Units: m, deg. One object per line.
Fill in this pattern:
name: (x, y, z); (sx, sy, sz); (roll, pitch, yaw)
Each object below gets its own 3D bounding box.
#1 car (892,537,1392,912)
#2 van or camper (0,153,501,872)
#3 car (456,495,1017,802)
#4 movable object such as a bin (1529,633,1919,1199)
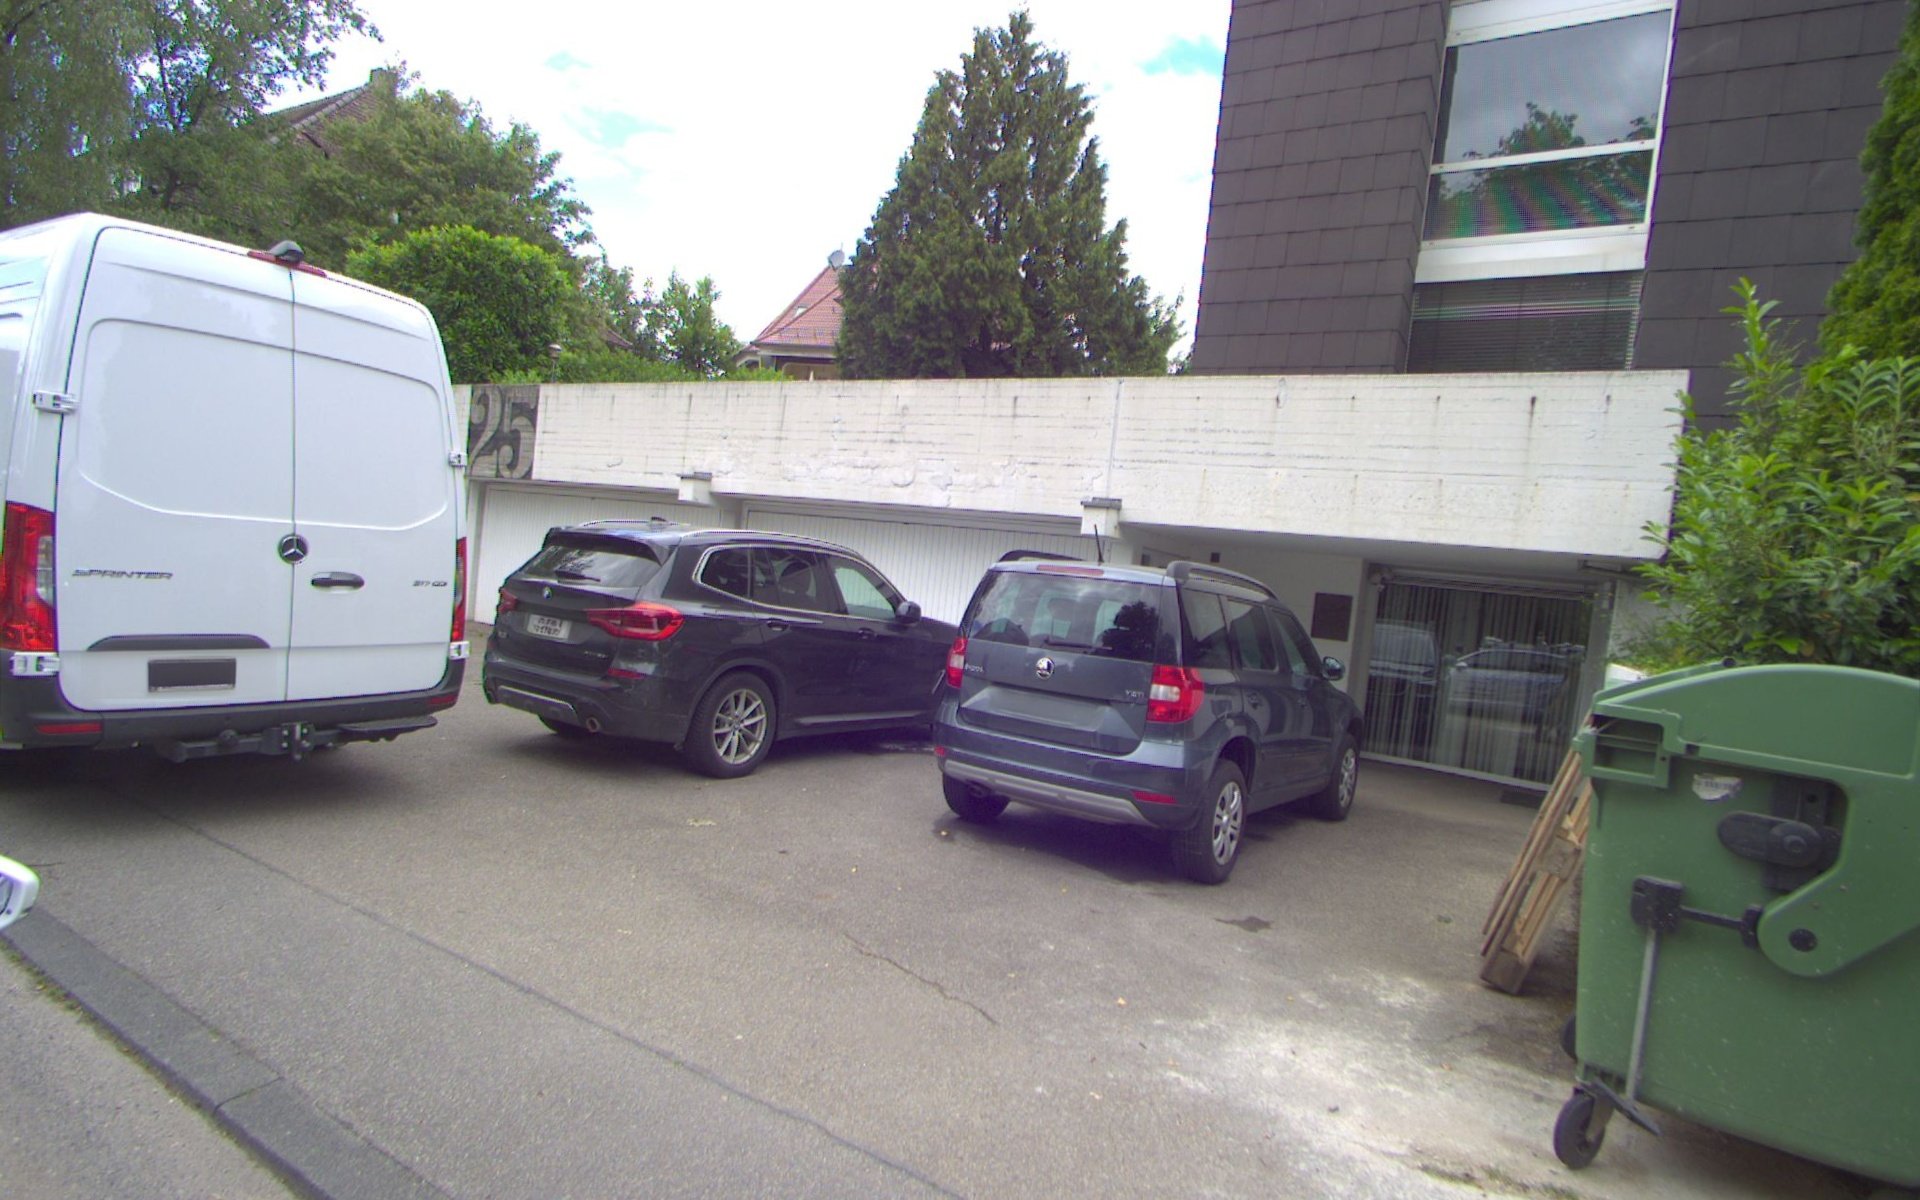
car: (1.493, 0.648, 6.787); (1.717, 1.673, 3.899); (6, 1, 35)
van or camper: (-5.764, -0.578, 6.270); (6.436, 2.662, 1.990); (6, 4, 32)
car: (-1.397, 0.327, 8.027); (1.668, 1.696, 4.383); (6, 1, 32)
movable object such as a bin: (2.417, 0.905, 2.967); (1.098, 1.469, 1.405); (6, 1, 32)
